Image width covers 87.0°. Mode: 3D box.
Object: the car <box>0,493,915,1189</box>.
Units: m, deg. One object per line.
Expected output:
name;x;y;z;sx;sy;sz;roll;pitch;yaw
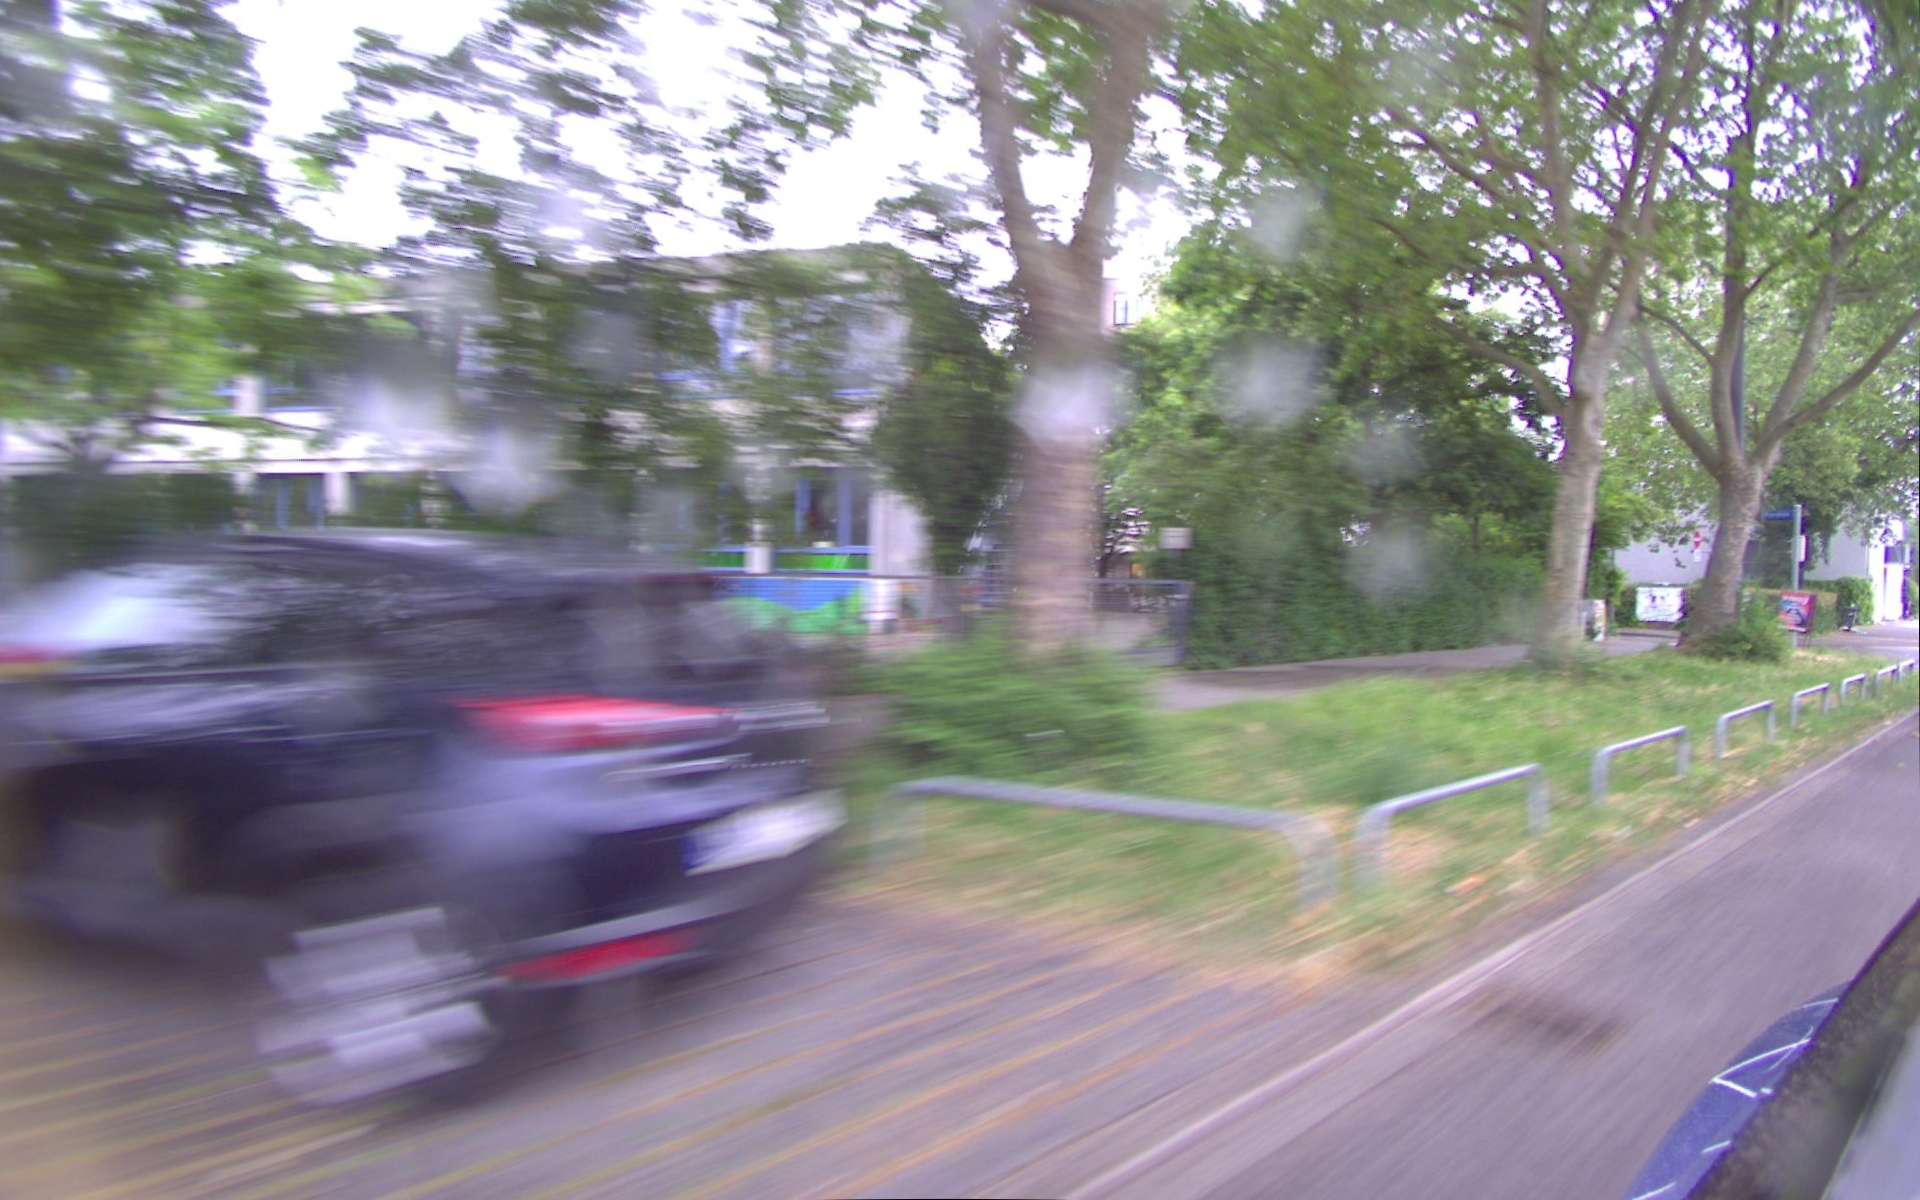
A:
car;-2.267;0.457;3.791;3.755;1.551;1.873;3;2;18
